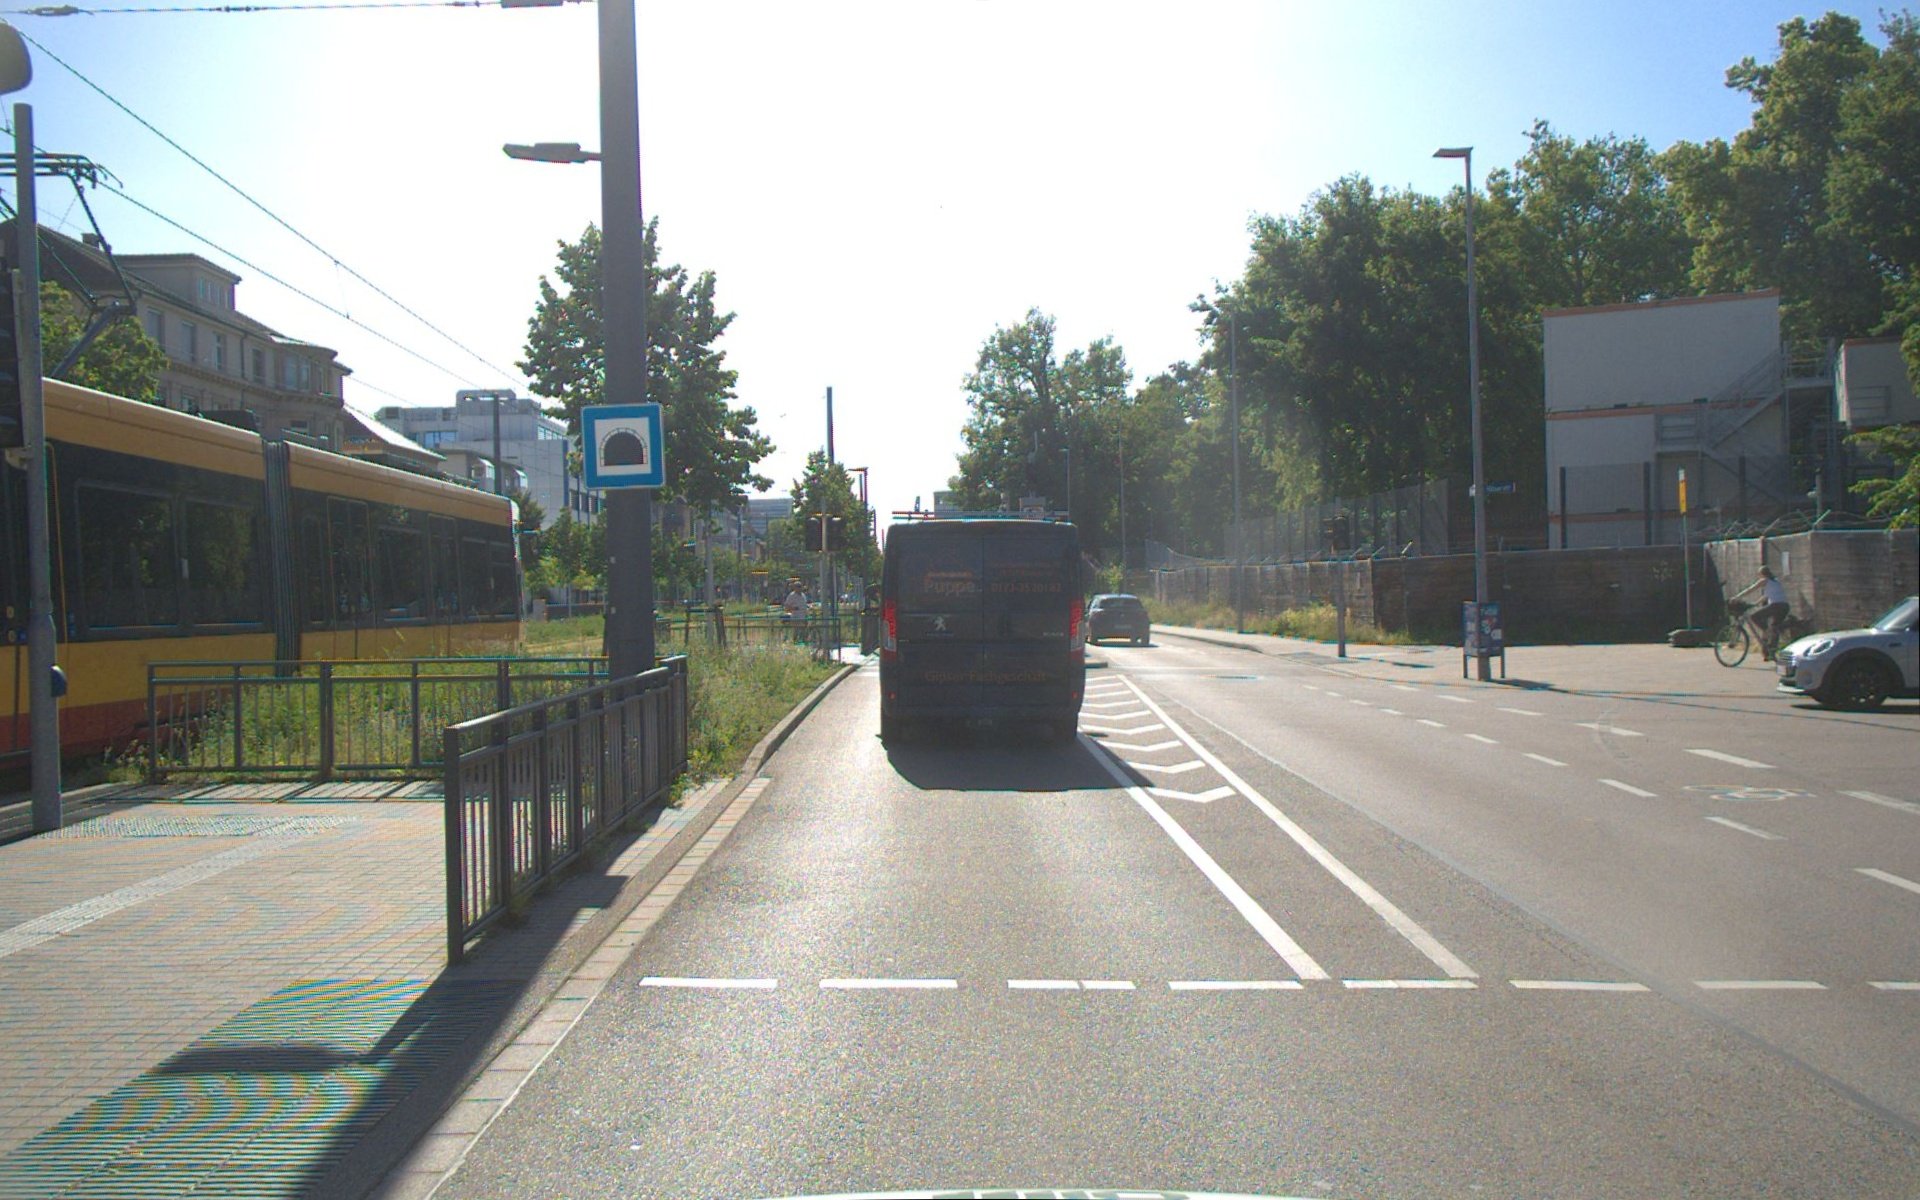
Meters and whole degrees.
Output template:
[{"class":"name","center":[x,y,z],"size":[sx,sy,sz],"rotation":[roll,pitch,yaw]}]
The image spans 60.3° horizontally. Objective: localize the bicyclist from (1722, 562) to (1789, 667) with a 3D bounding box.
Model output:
[{"class":"bicyclist","center":[13.272,0.237,27.589],"size":[0.835,1.702,0.741],"rotation":[-2,0,37]}]

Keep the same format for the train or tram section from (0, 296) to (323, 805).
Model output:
[{"class":"train or tram section","center":[-8.043,-0.360,13.076],"size":[1.953,3.733,11.312],"rotation":[-1,0,-2]}]

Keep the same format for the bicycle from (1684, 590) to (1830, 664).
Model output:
[{"class":"bicycle","center":[13.303,0.462,27.634],"size":[2.083,1.132,0.601],"rotation":[-3,0,38]}]

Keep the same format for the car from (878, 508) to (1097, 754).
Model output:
[{"class":"car","center":[0.195,0.281,17.548],"size":[2.040,2.288,3.998],"rotation":[-1,0,-2]}]

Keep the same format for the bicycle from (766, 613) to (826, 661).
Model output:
[{"class":"bicycle","center":[-3.949,0.868,39.654],"size":[0.724,1.110,2.064],"rotation":[0,0,-27]}]

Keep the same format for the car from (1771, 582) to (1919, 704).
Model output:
[{"class":"car","center":[12.267,0.507,20.576],"size":[3.621,1.461,1.774],"rotation":[-1,0,15]}]

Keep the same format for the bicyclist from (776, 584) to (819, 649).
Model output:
[{"class":"bicyclist","center":[-3.885,0.386,39.490],"size":[0.816,1.539,0.723],"rotation":[0,0,-27]}]

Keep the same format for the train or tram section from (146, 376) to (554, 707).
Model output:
[{"class":"train or tram section","center":[-8.345,-0.680,24.579],"size":[1.953,3.733,11.680],"rotation":[-1,0,-1]}]

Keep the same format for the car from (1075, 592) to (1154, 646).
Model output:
[{"class":"car","center":[4.486,0.534,48.502],"size":[1.728,1.488,3.997],"rotation":[-1,0,-3]}]
